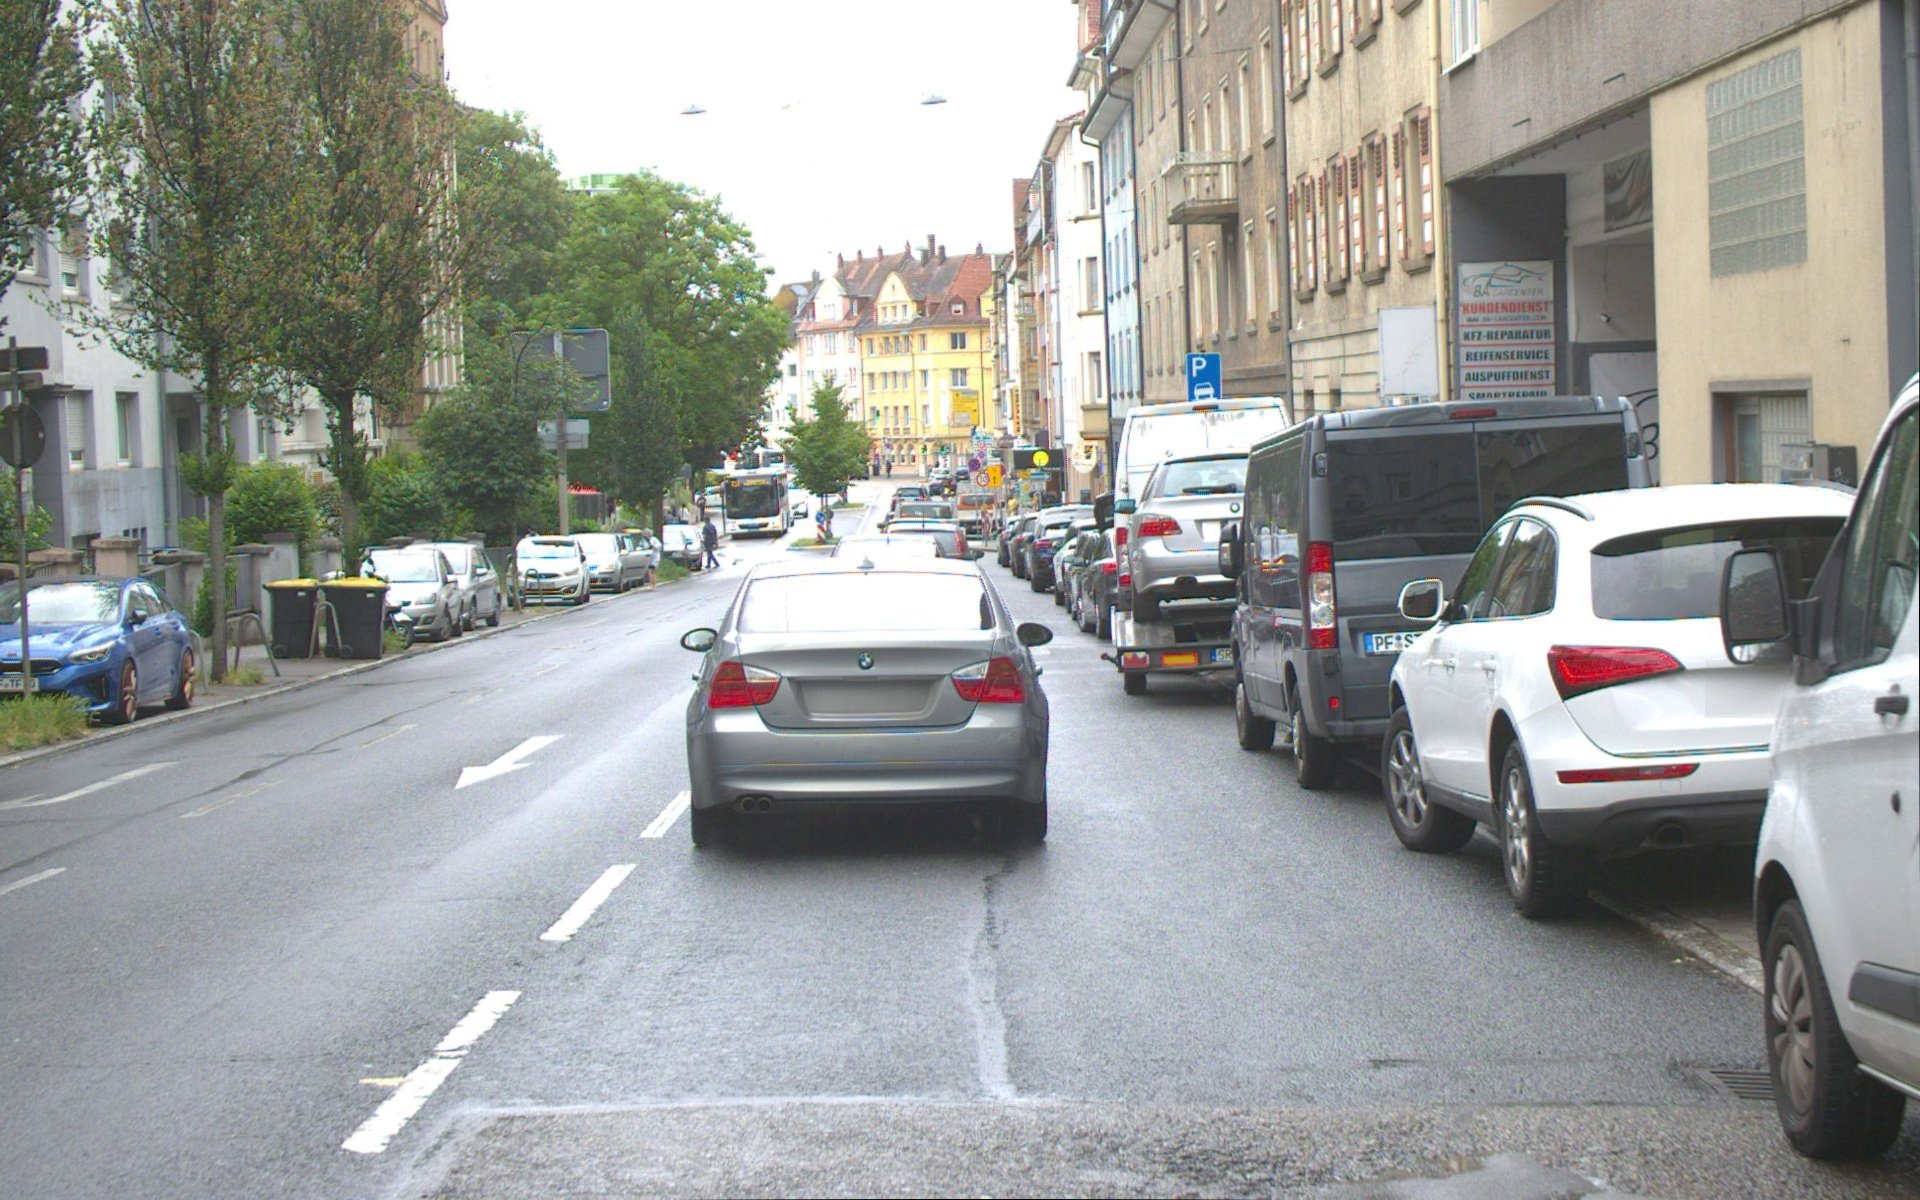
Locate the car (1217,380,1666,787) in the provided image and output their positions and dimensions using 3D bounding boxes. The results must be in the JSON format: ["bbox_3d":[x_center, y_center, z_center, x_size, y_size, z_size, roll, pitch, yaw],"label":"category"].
[{"bbox_3d":[2.842,-0.149,21.408,1.982,2.158,4.750,-3,1,-1],"label":"car"}]

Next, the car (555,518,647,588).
[{"bbox_3d":[-8.628,-1.149,82.867,1.691,1.518,3.737,-4,2,1],"label":"car"}]

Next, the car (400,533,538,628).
[{"bbox_3d":[-8.808,-0.382,61.893,1.827,1.518,3.737,-4,2,1],"label":"car"}]

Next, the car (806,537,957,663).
[{"bbox_3d":[-0.898,-0.038,41.086,1.682,1.423,3.741,0,1,1],"label":"car"}]

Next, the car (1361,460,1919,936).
[{"bbox_3d":[2.888,0.302,14.687,1.726,1.664,4.289,-3,1,-1],"label":"car"}]

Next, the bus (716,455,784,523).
[{"bbox_3d":[-9.887,-5.225,162.474,2.668,3.013,7.671,-3,1,-1],"label":"bus"}]

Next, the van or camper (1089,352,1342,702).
[{"bbox_3d":[2.294,-0.700,31.938,2.033,2.859,6.885,1,2,3],"label":"van or camper"}]

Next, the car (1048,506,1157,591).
[{"bbox_3d":[2.535,-0.930,61.811,1.697,1.478,3.976,0,1,-1],"label":"car"}]

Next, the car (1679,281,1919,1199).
[{"bbox_3d":[2.947,0.319,6.717,1.982,2.000,4.625,-3,1,-1],"label":"car"}]

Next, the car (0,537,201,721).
[{"bbox_3d":[-8.695,0.254,33.406,1.766,1.588,4.001,-4,2,-2],"label":"car"}]

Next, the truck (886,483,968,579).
[{"bbox_3d":[-0.882,-1.774,88.622,2.032,2.404,4.827,0,1,-1],"label":"truck"}]

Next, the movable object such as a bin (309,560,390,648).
[{"bbox_3d":[-8.398,0.052,47.351,0.935,1.164,0.909,-1,1,0],"label":"movable object such as a bin"}]

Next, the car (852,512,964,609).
[{"bbox_3d":[-0.833,-0.630,54.143,1.697,1.478,3.794,0,1,-1],"label":"car"}]

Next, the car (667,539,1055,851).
[{"bbox_3d":[-0.439,0.405,17.616,1.769,1.423,3.741,0,1,0],"label":"car"}]

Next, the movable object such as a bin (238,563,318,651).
[{"bbox_3d":[-9.392,0.086,47.348,0.902,1.164,0.895,-1,1,0],"label":"movable object such as a bin"}]

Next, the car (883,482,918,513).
[{"bbox_3d":[-3.106,-5.338,179.069,1.697,1.478,3.794,-3,1,-1],"label":"car"}]

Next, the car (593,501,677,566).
[{"bbox_3d":[-8.305,-1.721,88.146,1.691,1.518,3.737,-4,2,1],"label":"car"}]

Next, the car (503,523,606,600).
[{"bbox_3d":[-8.858,-0.862,75.343,1.691,1.518,3.737,-4,2,1],"label":"car"}]

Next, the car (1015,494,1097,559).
[{"bbox_3d":[2.195,-1.695,79.805,1.697,1.478,3.976,0,1,-1],"label":"car"}]

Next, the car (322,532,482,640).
[{"bbox_3d":[-8.845,-0.254,54.757,1.827,1.518,3.737,-4,2,1],"label":"car"}]

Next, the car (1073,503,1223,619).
[{"bbox_3d":[2.468,-0.528,45.915,1.697,1.478,3.976,0,1,-1],"label":"car"}]

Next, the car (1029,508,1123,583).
[{"bbox_3d":[2.346,-1.114,70.313,1.697,1.478,3.976,0,1,-1],"label":"car"}]

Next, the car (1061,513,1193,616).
[{"bbox_3d":[2.460,-0.540,51.405,1.697,1.478,3.976,0,1,-1],"label":"car"}]

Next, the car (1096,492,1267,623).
[{"bbox_3d":[2.580,-0.513,40.820,1.697,1.478,3.794,0,1,-1],"label":"car"}]
